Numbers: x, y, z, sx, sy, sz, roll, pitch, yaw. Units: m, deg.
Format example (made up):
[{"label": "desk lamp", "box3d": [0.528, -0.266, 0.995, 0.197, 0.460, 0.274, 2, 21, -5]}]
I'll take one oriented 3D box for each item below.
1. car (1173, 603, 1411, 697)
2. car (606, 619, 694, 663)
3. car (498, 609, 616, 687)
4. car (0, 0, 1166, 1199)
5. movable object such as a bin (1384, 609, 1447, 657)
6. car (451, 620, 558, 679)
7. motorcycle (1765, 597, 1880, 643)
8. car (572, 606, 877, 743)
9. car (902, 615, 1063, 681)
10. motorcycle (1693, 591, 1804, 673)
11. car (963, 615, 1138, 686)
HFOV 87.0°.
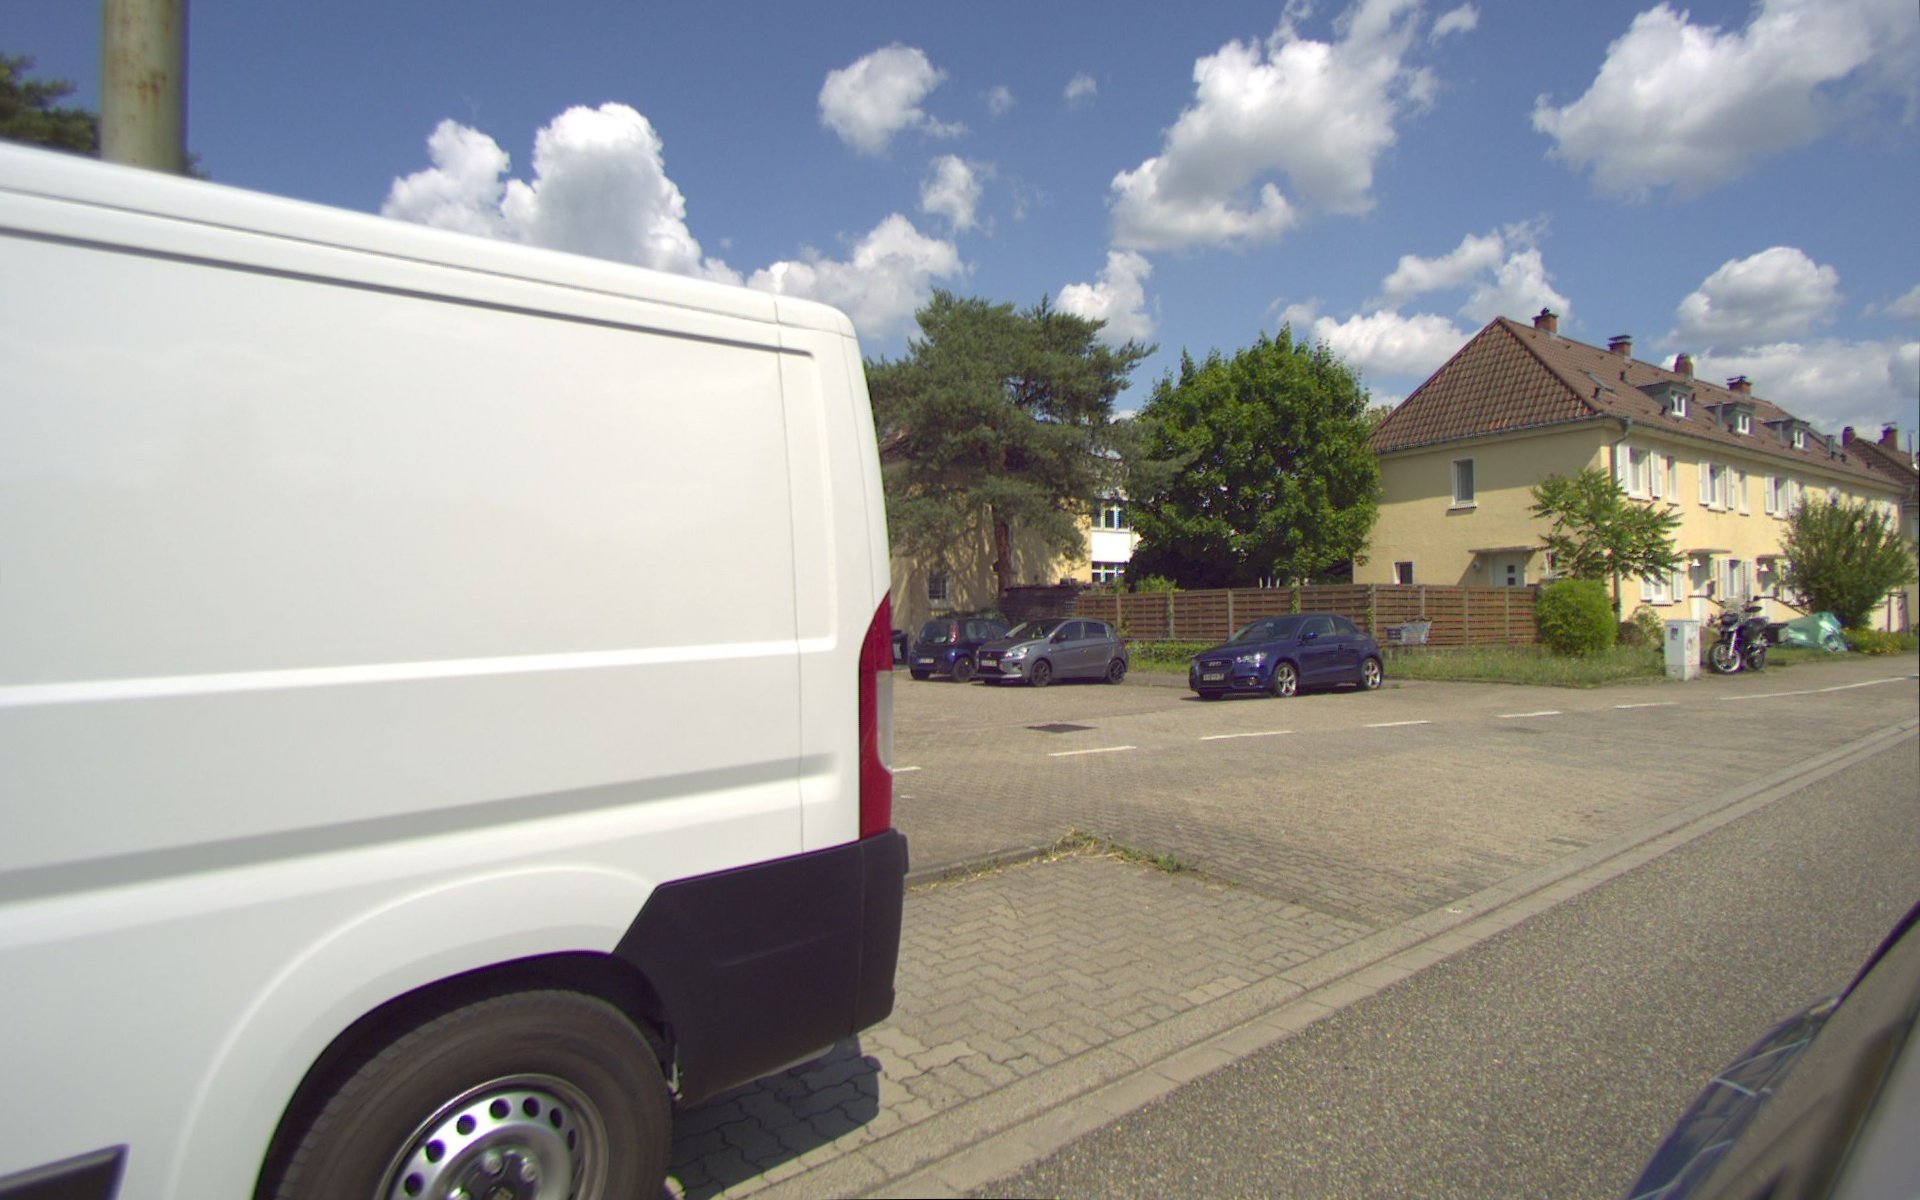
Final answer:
[{"label": "car", "box3d": [5.716, 0.787, 17.245, 4.206, 1.398, 1.644, 0, -2, -35]}, {"label": "car", "box3d": [-11.059, 1.430, 35.906, 1.701, 1.406, 4.296, 4, -3, -35]}, {"label": "car", "box3d": [-10.405, 1.184, 25.978, 1.703, 1.709, 4.121, -4, 1, -37]}, {"label": "car", "box3d": [-2.586, 0.255, 1.668, 6.252, 2.211, 2.281, 0, -1, -39]}, {"label": "movable object such as a bin", "box3d": [9.431, 0.674, 20.959, 1.262, 0.948, 0.572, 0, -2, -32]}, {"label": "car", "box3d": [-13.790, 1.449, 30.517, 1.727, 1.501, 4.114, -5, 2, -41]}, {"label": "motorcycle", "box3d": [23.714, 0.539, 27.875, 0.837, 1.213, 2.235, 0, -1, -33]}, {"label": "car", "box3d": [-3.147, 0.914, 13.900, 3.743, 1.567, 1.630, -1, -1, -41]}, {"label": "car", "box3d": [0.597, 1.096, 24.015, 3.867, 1.430, 1.540, 2, -1, -43]}, {"label": "motorcycle", "box3d": [15.517, 0.585, 19.899, 2.536, 1.488, 1.050, 0, 1, -36]}, {"label": "car", "box3d": [2.024, 1.057, 22.022, 3.864, 1.416, 1.562, 2, -3, -41]}]
